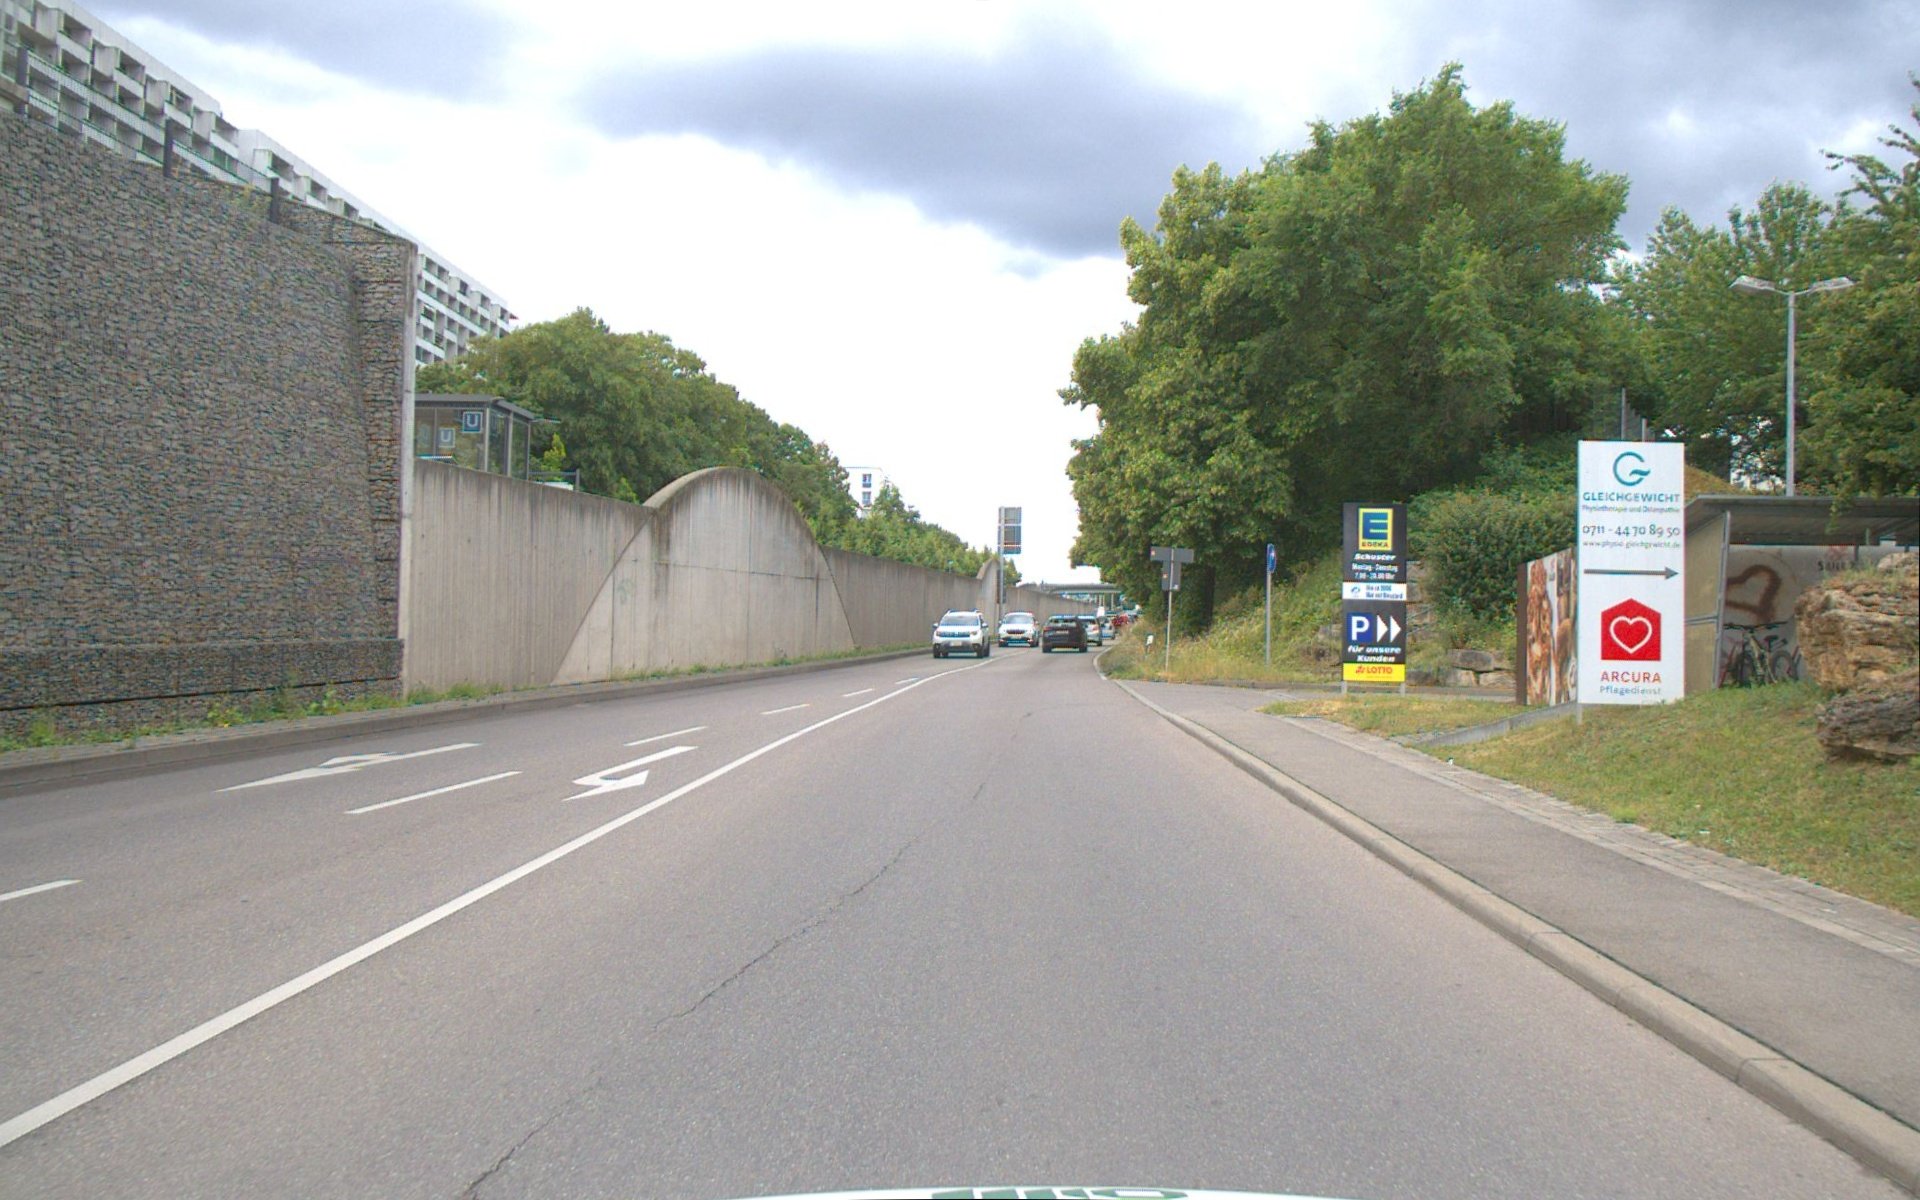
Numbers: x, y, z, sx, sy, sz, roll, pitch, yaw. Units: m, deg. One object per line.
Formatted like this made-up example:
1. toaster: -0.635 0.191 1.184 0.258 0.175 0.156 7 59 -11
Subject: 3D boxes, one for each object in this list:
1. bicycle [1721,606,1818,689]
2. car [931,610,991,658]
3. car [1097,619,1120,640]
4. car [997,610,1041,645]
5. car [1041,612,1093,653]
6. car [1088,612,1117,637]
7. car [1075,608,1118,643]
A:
1. bicycle: 9.120 0.521 18.679 0.480 0.891 1.482 1 0 5
2. car: 0.079 1.197 59.274 1.822 1.660 4.210 0 -1 4
3. car: 11.783 2.354 131.138 1.717 1.560 4.256 3 -2 6
4. car: 2.918 1.329 81.364 1.850 1.660 4.429 0 -1 6
5. car: 4.437 1.362 68.125 1.717 1.550 4.039 3 -2 9
6. car: 9.450 1.619 109.747 1.827 1.516 4.259 3 -1 5
7. car: 6.987 1.322 84.148 1.717 1.550 4.039 3 -2 10
